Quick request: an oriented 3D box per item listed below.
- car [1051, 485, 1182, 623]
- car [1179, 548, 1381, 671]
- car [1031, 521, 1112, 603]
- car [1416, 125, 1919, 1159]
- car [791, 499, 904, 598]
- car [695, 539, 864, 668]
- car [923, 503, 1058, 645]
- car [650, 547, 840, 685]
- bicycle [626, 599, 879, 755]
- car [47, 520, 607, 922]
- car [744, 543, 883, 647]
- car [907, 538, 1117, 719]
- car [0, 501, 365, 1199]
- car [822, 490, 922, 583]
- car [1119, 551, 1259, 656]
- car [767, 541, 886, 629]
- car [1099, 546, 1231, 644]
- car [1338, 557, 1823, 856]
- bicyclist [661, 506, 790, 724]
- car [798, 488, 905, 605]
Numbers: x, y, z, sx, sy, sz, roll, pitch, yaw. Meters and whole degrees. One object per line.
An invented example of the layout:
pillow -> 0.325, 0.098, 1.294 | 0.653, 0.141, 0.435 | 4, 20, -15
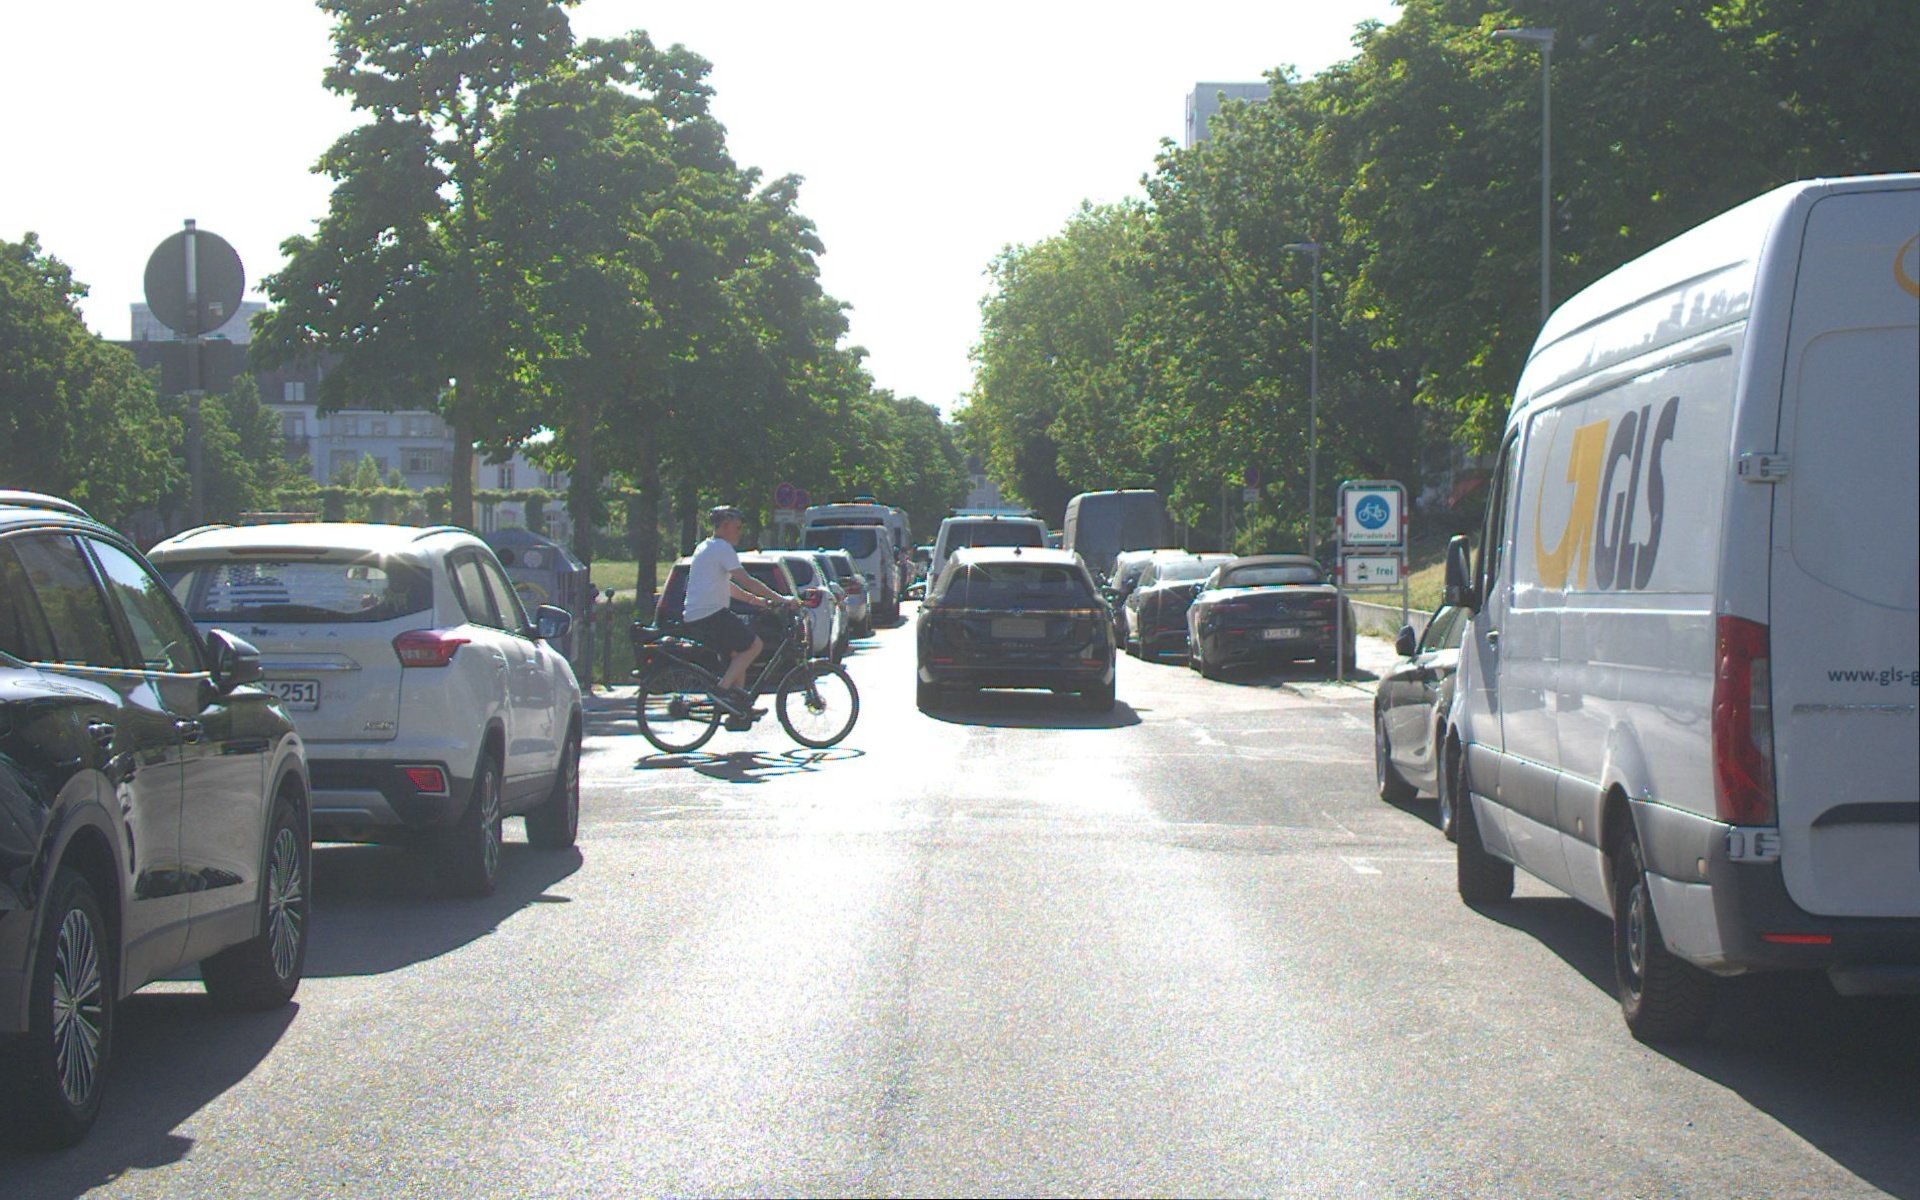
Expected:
car -> 3.116, -0.952, 69.732 | 2.162, 2.680, 5.417 | 0, 1, -3
car -> 3.867, 0.075, 42.229 | 2.125, 1.333, 4.506 | -2, 1, 2
car -> 3.198, -1.124, 99.425 | 2.163, 2.285, 5.266 | 0, 1, 0
car -> 3.105, 0.032, 12.416 | 2.143, 2.703, 6.841 | -1, 1, 2
car -> -2.230, -1.047, 69.297 | 2.098, 1.936, 4.127 | 0, 1, 1
car -> -2.222, 0.027, 43.112 | 1.777, 1.490, 3.875 | -2, 0, 2
car -> 0.494, -0.410, 51.211 | 1.894, 1.984, 4.010 | -1, 1, 2
car -> -2.361, 0.159, 38.593 | 1.748, 1.420, 3.916 | -2, 0, 2
bicycle -> -1.548, 0.559, 25.590 | 1.759, 1.123, 0.663 | 0, 1, -19
car -> -2.861, 0.467, 16.484 | 1.756, 1.641, 4.287 | -1, 1, 2
car -> -2.139, -0.110, 51.040 | 1.779, 1.456, 4.126 | 0, 1, 1
car -> 0.507, 0.210, 31.829 | 1.779, 1.526, 4.000 | 1, 1, 2
car -> -3.106, 0.570, 10.030 | 1.843, 1.633, 4.715 | -1, 1, 1
car -> -2.538, -1.878, 101.165 | 2.617, 2.636, 6.114 | 0, 1, 2
car -> 3.164, 0.017, 48.196 | 1.779, 1.366, 4.126 | 0, 1, 1
car -> -2.334, -0.296, 60.841 | 1.833, 1.495, 4.126 | 0, 1, 2
car -> 3.214, -0.102, 54.569 | 1.779, 1.482, 4.032 | 0, 1, -1
car -> 3.465, 0.524, 20.076 | 1.958, 1.476, 4.499 | -1, 1, 0
bicyclist -> -1.744, 0.101, 25.502 | 0.788, 1.591, 0.696 | 0, 1, -19
car -> -2.355, -1.178, 75.710 | 2.098, 2.488, 4.126 | 0, 1, 2
